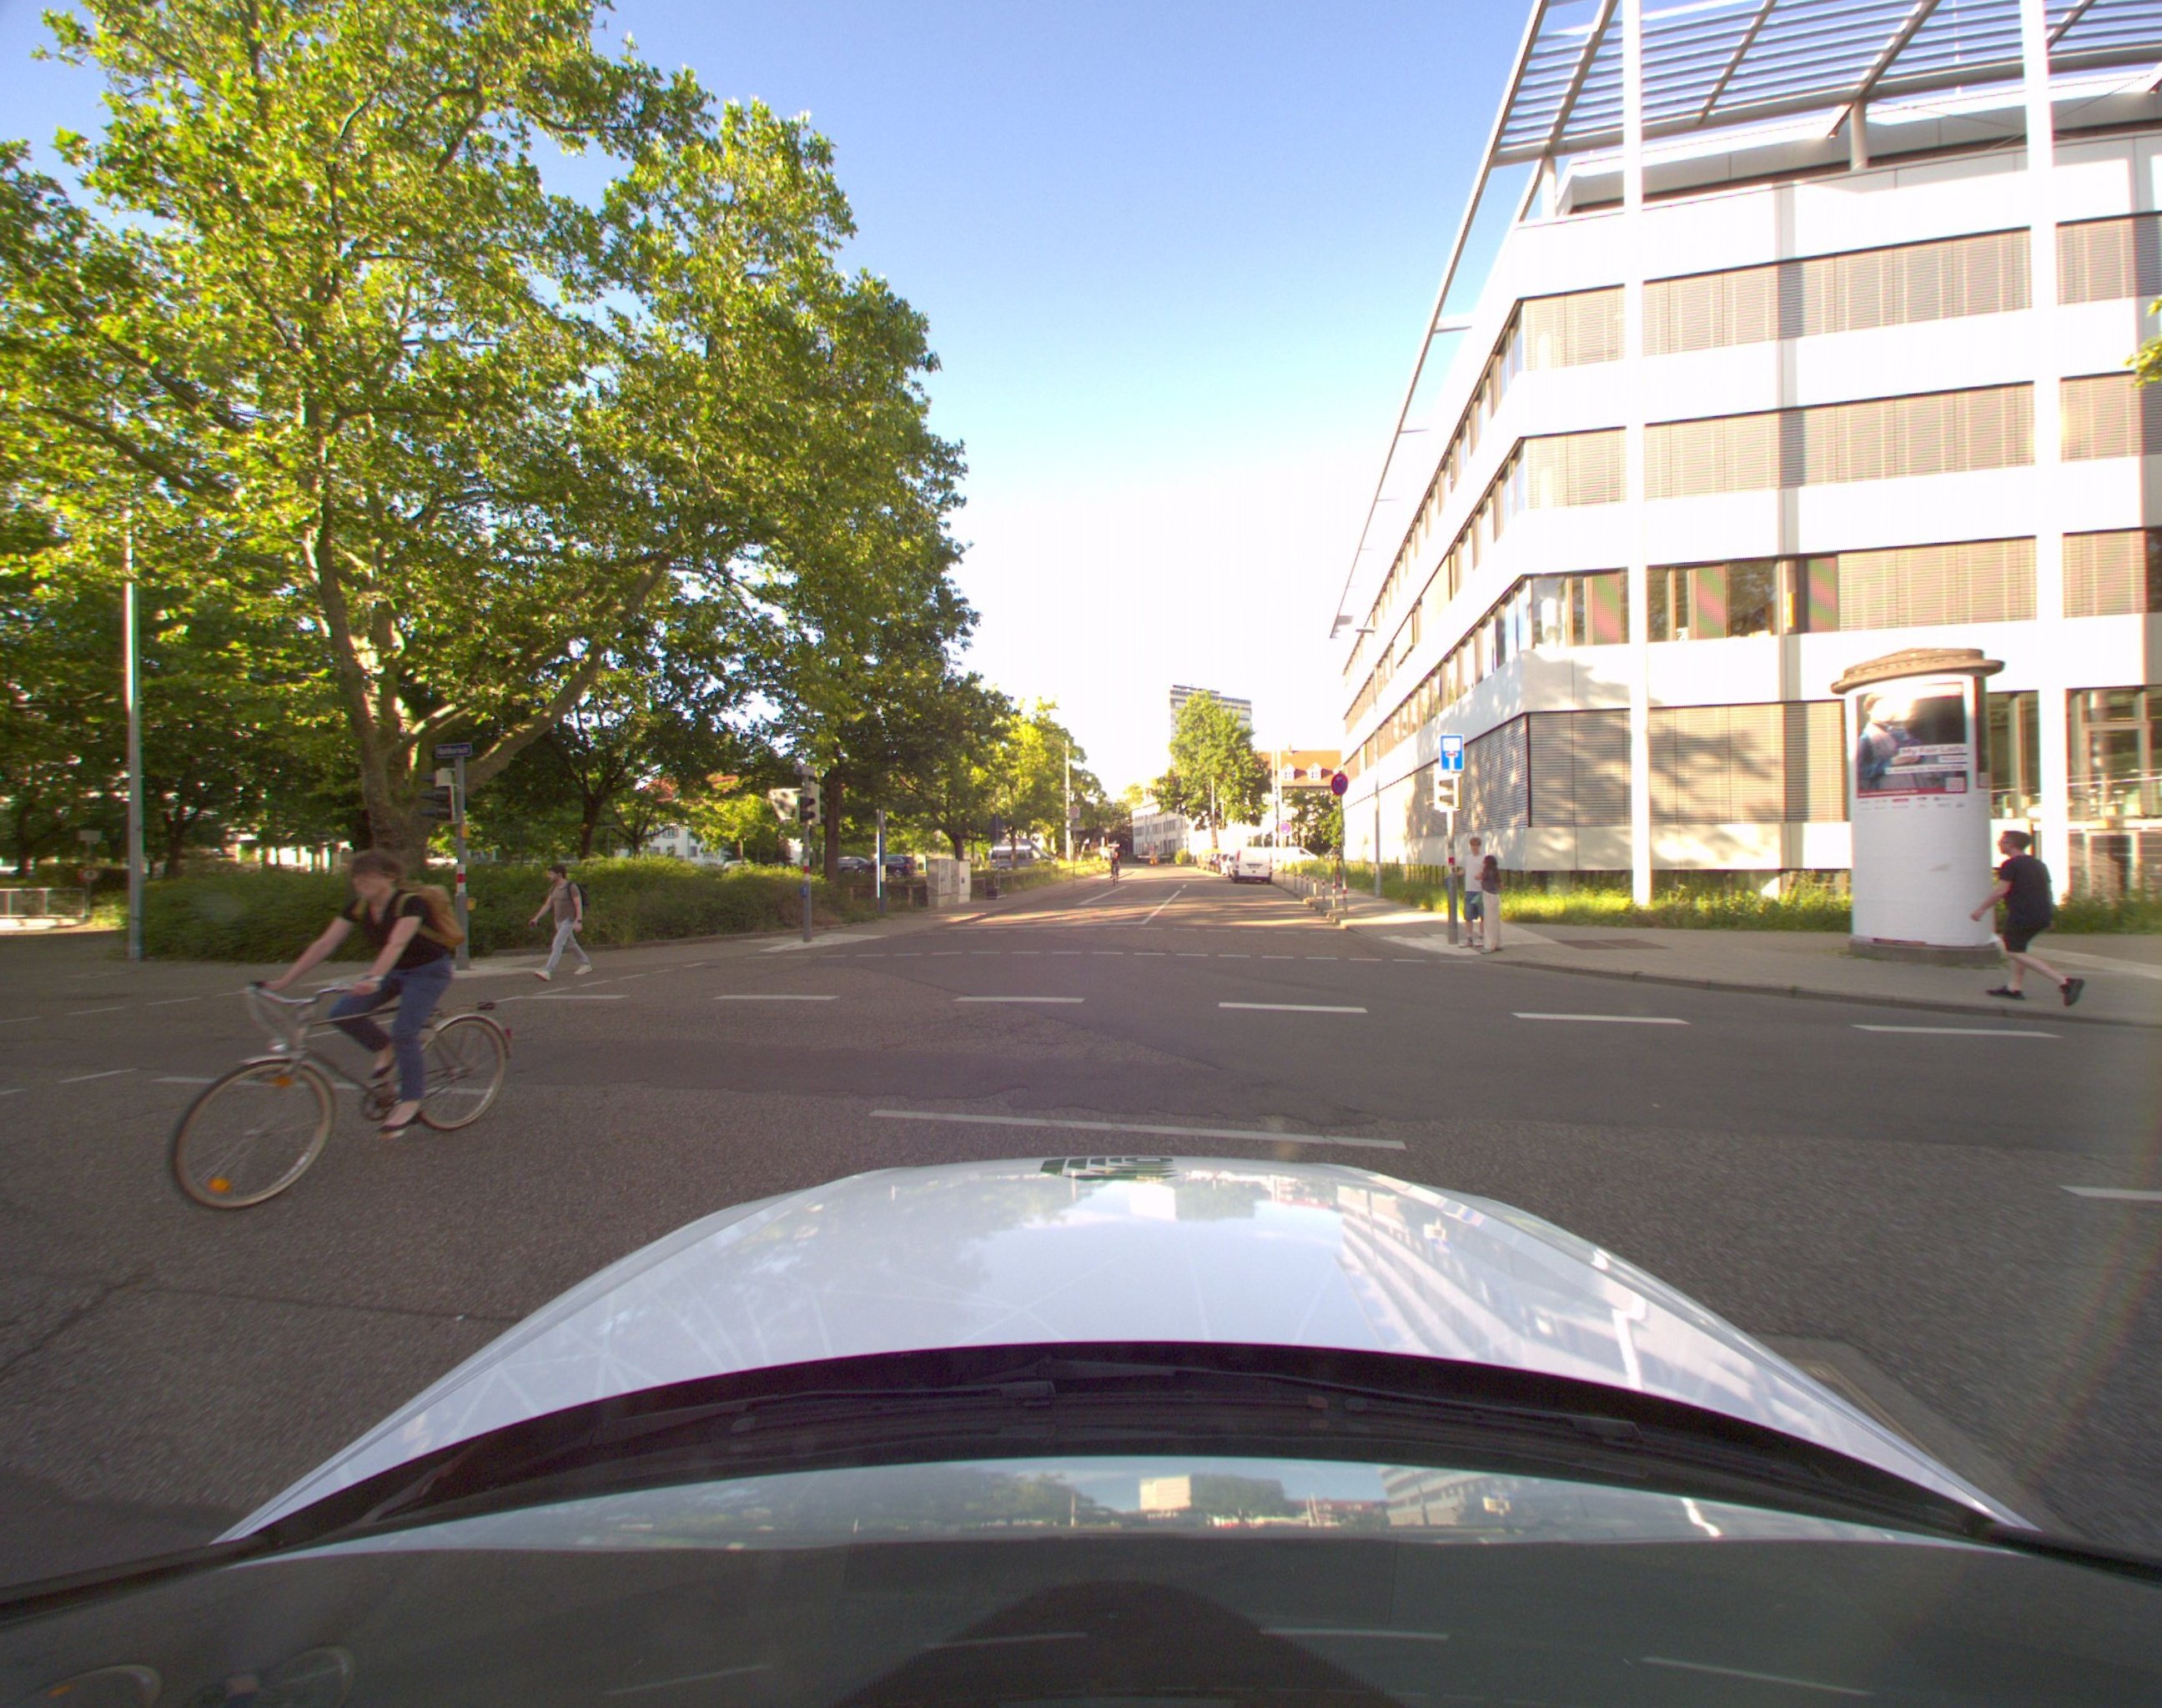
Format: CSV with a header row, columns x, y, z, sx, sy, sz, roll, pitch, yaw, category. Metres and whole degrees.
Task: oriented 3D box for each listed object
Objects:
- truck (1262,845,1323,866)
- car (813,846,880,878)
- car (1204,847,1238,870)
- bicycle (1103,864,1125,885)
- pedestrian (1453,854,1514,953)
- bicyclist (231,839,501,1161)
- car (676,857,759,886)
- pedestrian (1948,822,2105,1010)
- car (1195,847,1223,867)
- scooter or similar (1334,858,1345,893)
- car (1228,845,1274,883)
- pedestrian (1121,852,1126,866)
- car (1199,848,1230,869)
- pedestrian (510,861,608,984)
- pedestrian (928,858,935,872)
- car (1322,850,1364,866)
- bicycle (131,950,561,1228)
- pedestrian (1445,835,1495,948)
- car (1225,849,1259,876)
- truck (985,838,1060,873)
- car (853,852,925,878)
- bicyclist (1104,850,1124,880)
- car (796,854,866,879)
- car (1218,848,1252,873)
x,y,z,sx,sy,sz,roll,pitch,yaw,category
20.321,0.111,78.399,5.321,2.013,1.999,0,0,-1,truck
-18.255,0.636,63.518,4.527,2.391,2.080,-2,-1,9,car
10.816,0.321,63.015,1.882,1.655,4.415,0,1,0,car
1.699,1.046,41.735,0.861,1.009,2.419,-3,-1,8,bicycle
6.551,0.785,13.281,0.557,1.540,0.676,-4,0,0,pedestrian
-3.753,0.700,4.357,0.613,1.532,0.904,-1,0,2,bicyclist
-23.721,1.126,53.245,4.527,1.730,2.080,-2,-1,9,car
9.795,0.600,8.479,0.701,1.840,0.841,1,1,18,pedestrian
11.497,0.247,73.297,1.882,1.655,4.415,0,1,0,car
10.931,0.890,34.434,0.328,1.424,1.339,1,0,13,scooter or similar
8.690,0.455,41.862,2.073,1.795,4.426,0,1,9,car
4.995,0.574,95.656,0.543,1.677,0.476,-1,0,1,pedestrian
11.083,0.333,67.885,1.882,1.655,4.415,0,1,0,car
-7.681,0.982,12.022,0.697,1.723,0.960,-2,-1,19,pedestrian
-14.336,1.065,78.012,0.557,1.323,0.576,-1,0,-8,pedestrian
25.126,0.360,78.083,3.544,1.546,1.558,0,0,-1,car
-3.749,1.118,4.422,0.613,0.970,1.842,-1,0,2,bicycle
6.639,0.624,13.893,0.554,1.851,0.681,-4,0,34,pedestrian
9.833,0.470,50.003,1.877,1.555,4.426,0,1,9,car
-4.045,0.083,56.849,4.800,2.399,2.092,0,0,8,truck
-13.828,0.805,58.715,4.527,1.730,2.080,-2,-1,9,car
1.687,0.555,41.757,0.861,1.515,1.021,-3,-1,7,bicyclist
-18.721,0.953,61.143,4.527,1.730,2.080,-2,-1,9,car
10.429,0.417,55.479,1.879,1.555,4.422,0,1,5,car
